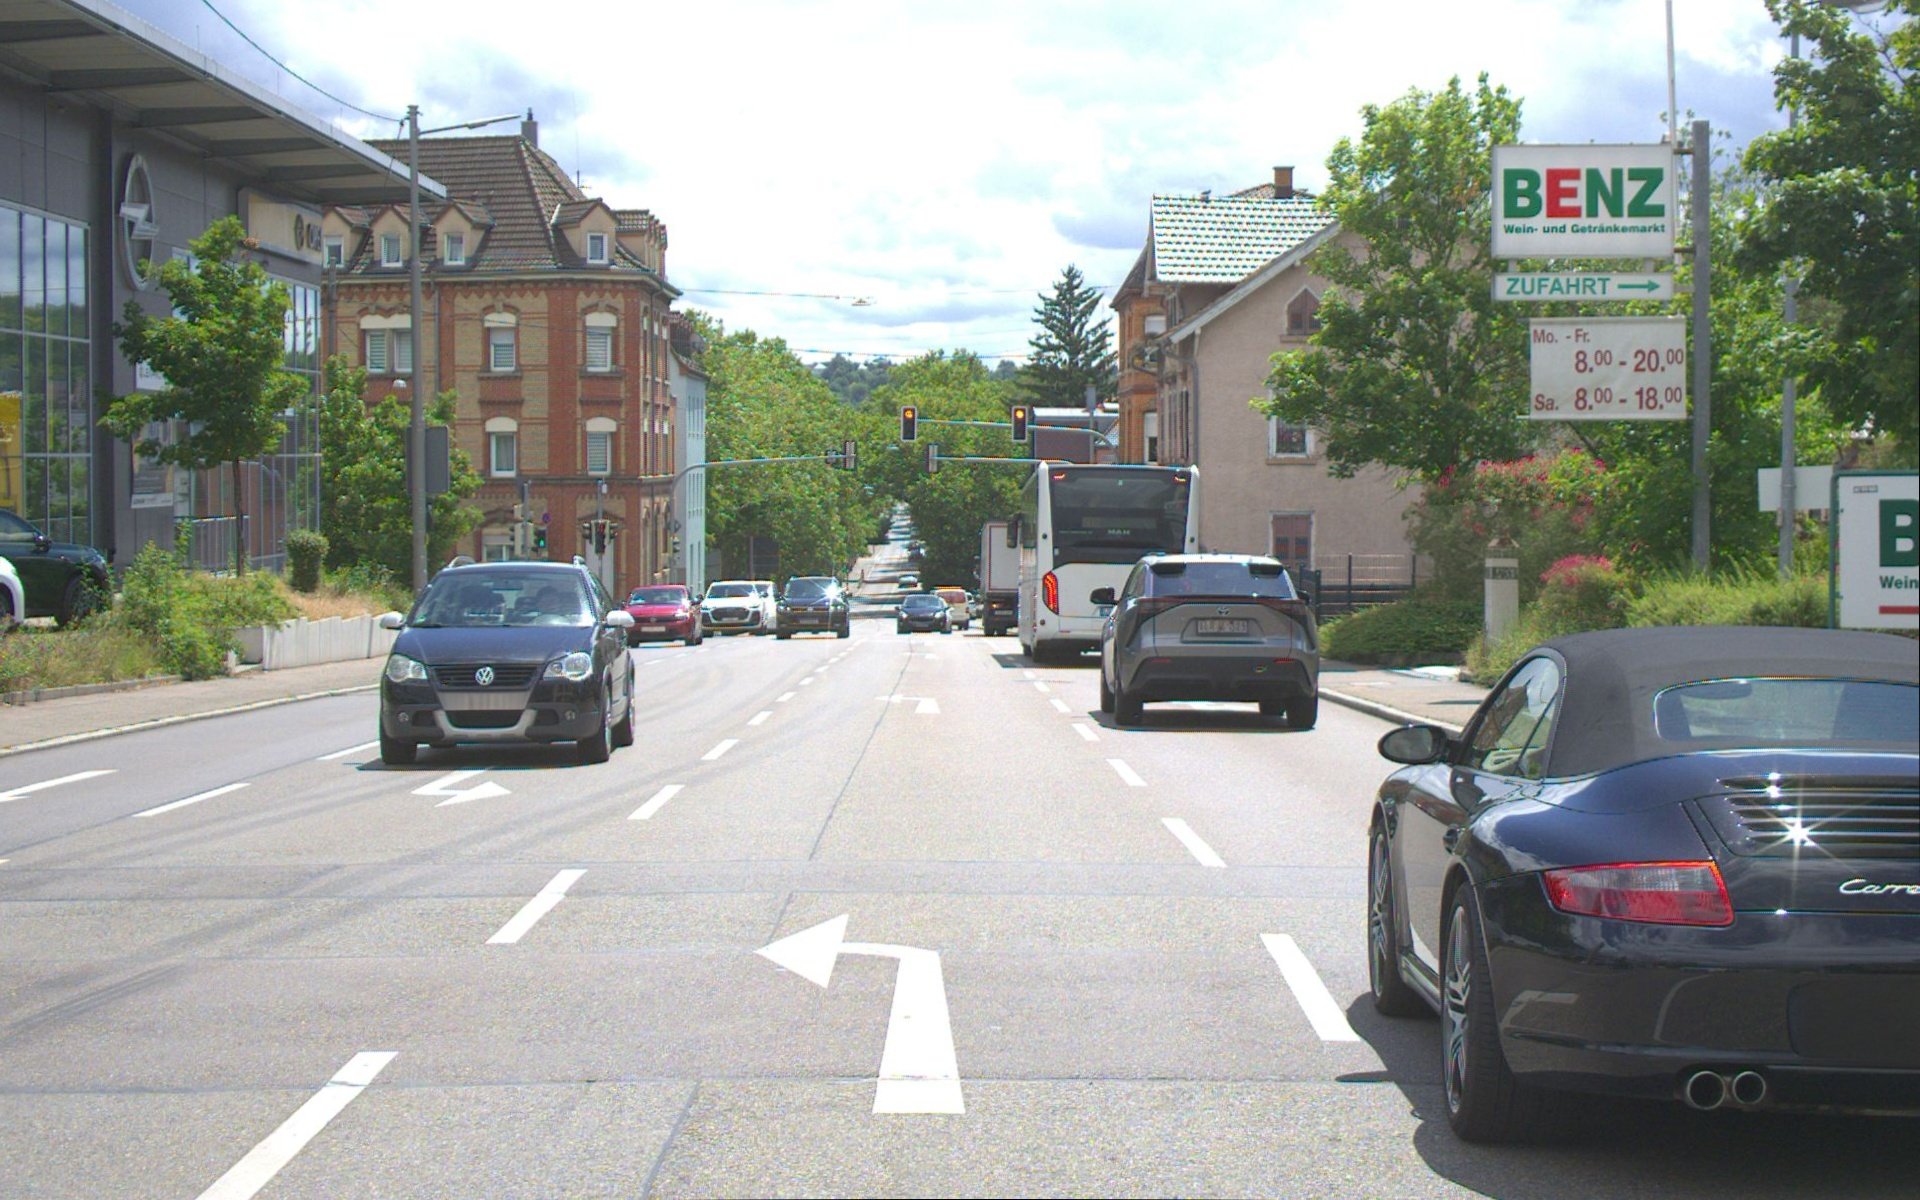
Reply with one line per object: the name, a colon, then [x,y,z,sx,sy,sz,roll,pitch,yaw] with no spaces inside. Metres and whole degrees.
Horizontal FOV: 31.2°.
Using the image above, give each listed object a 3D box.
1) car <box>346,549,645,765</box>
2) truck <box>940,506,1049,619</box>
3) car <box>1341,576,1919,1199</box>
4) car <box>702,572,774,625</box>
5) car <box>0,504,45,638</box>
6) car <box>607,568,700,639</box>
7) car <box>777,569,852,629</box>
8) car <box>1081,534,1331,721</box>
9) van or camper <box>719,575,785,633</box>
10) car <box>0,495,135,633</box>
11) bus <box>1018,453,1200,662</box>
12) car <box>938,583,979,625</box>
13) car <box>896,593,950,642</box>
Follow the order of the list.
car: [-3.486,0.377,26.495,1.829,1.504,4.277,-1,1,-2]
truck: [0.938,-1.074,100.425,2.666,3.097,9.036,-1,0,-2]
car: [2.162,0.694,9.627,1.931,1.372,4.208,0,2,3]
car: [-6.558,-0.059,101.822,1.864,1.535,4.107,0,0,0]
car: [-12.668,-0.326,39.159,1.933,1.567,4.548,0,0,23]
car: [-6.995,0.061,78.759,1.871,1.486,3.849,-3,1,-3]
car: [-3.829,-0.045,90.827,1.864,1.535,4.107,0,0,-1]
car: [2.272,0.205,32.807,1.930,1.577,4.209,0,2,-2]
van or camper: [-6.936,0.114,115.046,1.970,1.908,5.129,0,0,-1]
car: [-12.812,-0.461,44.000,1.996,1.692,4.479,1,3,26]
bus: [2.468,-0.922,59.361,2.802,3.186,12.196,0,3,2]
car: [-0.082,0.187,165.841,1.832,1.875,4.001,-1,1,-2]
car: [-1.307,0.606,120.739,1.864,1.660,4.259,0,0,-1]
